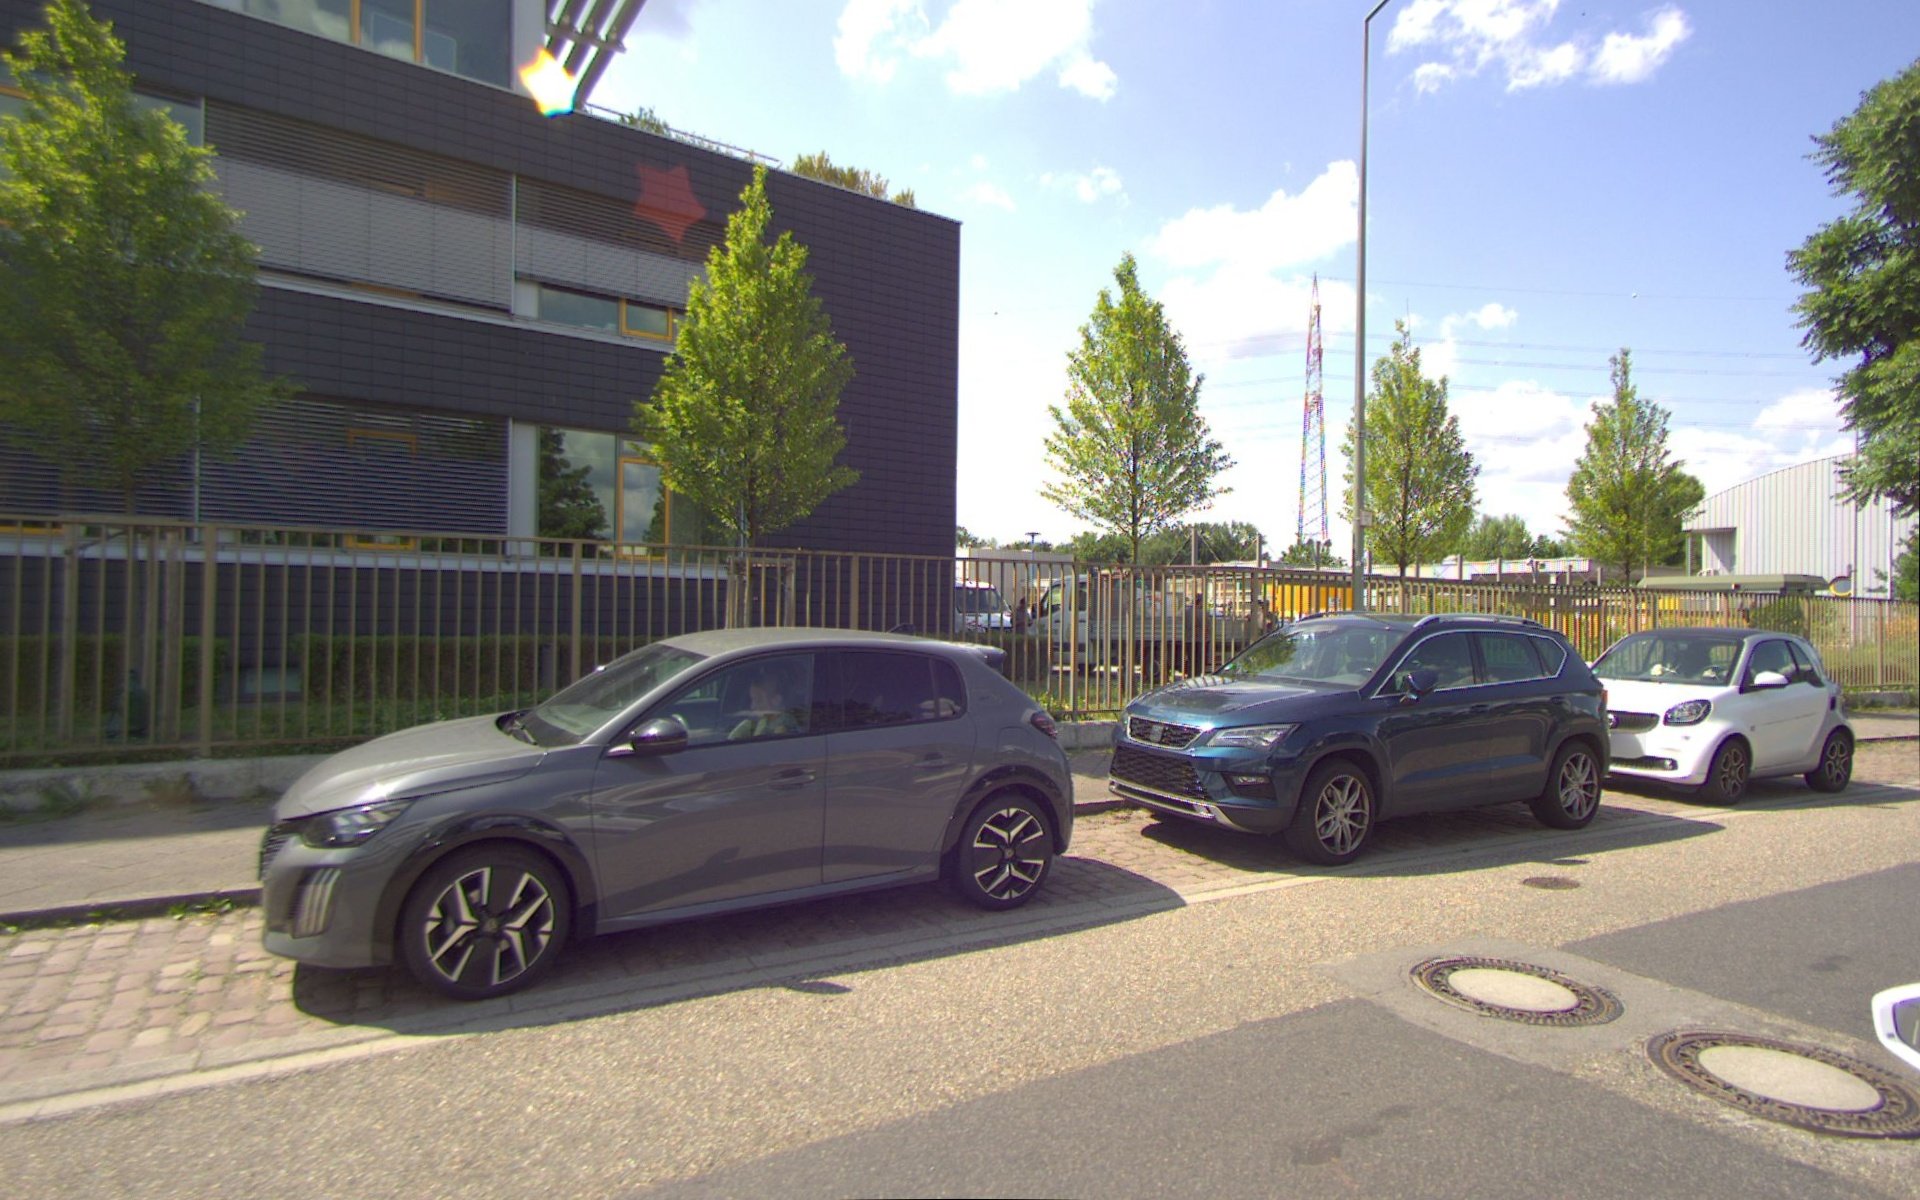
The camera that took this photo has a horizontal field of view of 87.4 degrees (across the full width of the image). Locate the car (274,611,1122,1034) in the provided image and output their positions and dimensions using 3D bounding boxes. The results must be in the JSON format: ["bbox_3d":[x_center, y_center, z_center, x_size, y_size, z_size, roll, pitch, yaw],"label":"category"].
[{"bbox_3d":[-1.210,0.849,5.345,3.885,1.464,1.725,1,0,-31],"label":"car"}]

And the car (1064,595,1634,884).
[{"bbox_3d":[3.038,0.858,7.639,4.258,1.678,1.726,1,0,-29],"label":"car"}]

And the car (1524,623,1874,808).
[{"bbox_3d":[7.312,1.033,9.946,3.035,1.543,1.603,1,-1,-27],"label":"car"}]

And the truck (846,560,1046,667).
[{"bbox_3d":[-0.616,0.376,28.864,2.380,2.693,6.869,1,-1,-34],"label":"truck"}]
